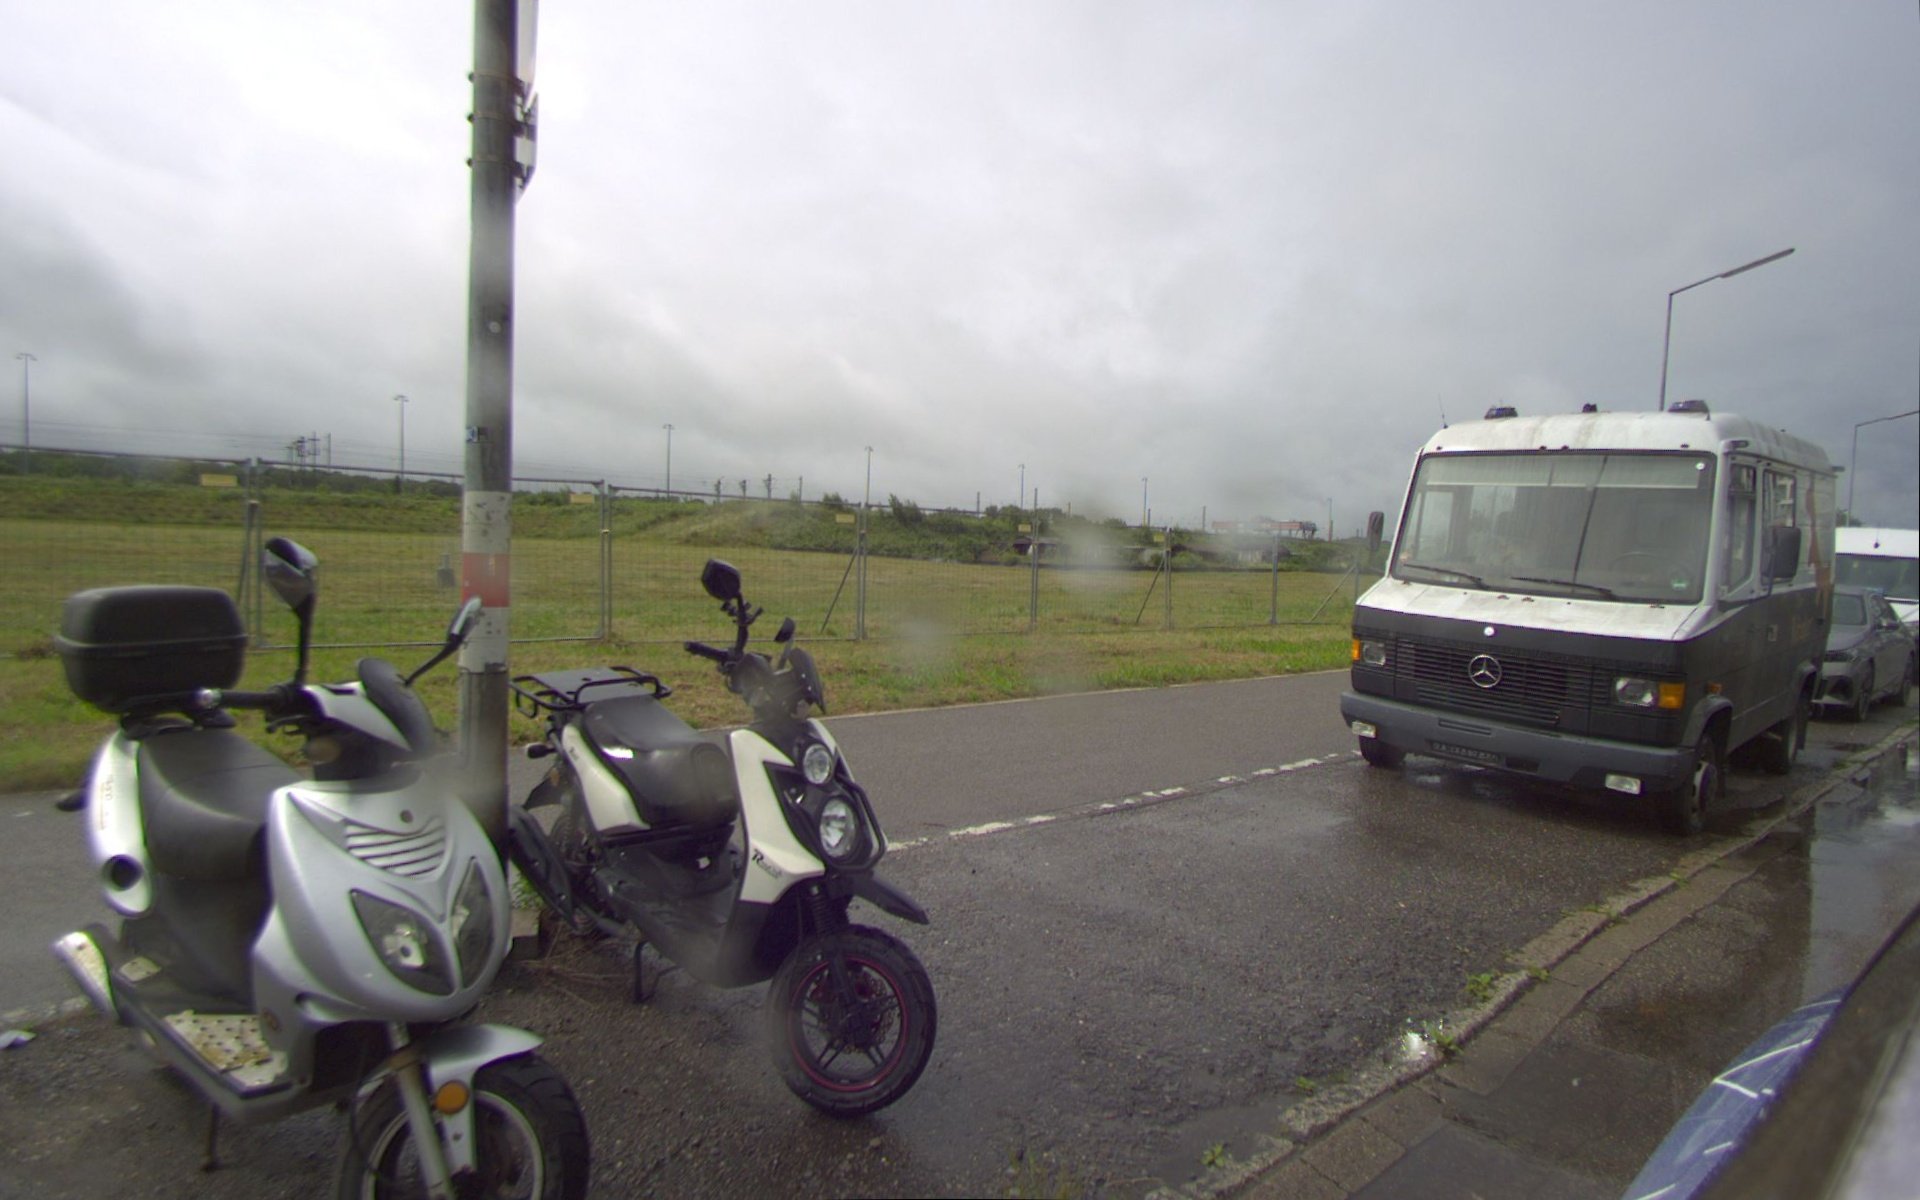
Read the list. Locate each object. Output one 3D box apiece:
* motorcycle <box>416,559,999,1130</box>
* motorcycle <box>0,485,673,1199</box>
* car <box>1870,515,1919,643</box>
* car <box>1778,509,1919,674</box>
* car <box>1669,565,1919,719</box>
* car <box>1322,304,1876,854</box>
[{"bbox_3d":[-0.801,0.557,3.033,1.661,1.208,0.643,7,6,28],"label":"motorcycle"},{"bbox_3d":[-1.464,0.499,2.156,1.638,1.390,0.713,7,5,34],"label":"motorcycle"},{"bbox_3d":[25.463,-0.455,25.519,6.761,2.991,2.479,0,4,-39],"label":"car"},{"bbox_3d":[17.206,-0.170,18.518,6.538,2.558,2.074,0,5,-40],"label":"car"},{"bbox_3d":[10.694,0.418,12.697,4.361,1.512,1.735,0,5,-39],"label":"car"},{"bbox_3d":[5.227,-0.234,7.908,5.187,2.917,2.149,-1,6,-43],"label":"car"}]
